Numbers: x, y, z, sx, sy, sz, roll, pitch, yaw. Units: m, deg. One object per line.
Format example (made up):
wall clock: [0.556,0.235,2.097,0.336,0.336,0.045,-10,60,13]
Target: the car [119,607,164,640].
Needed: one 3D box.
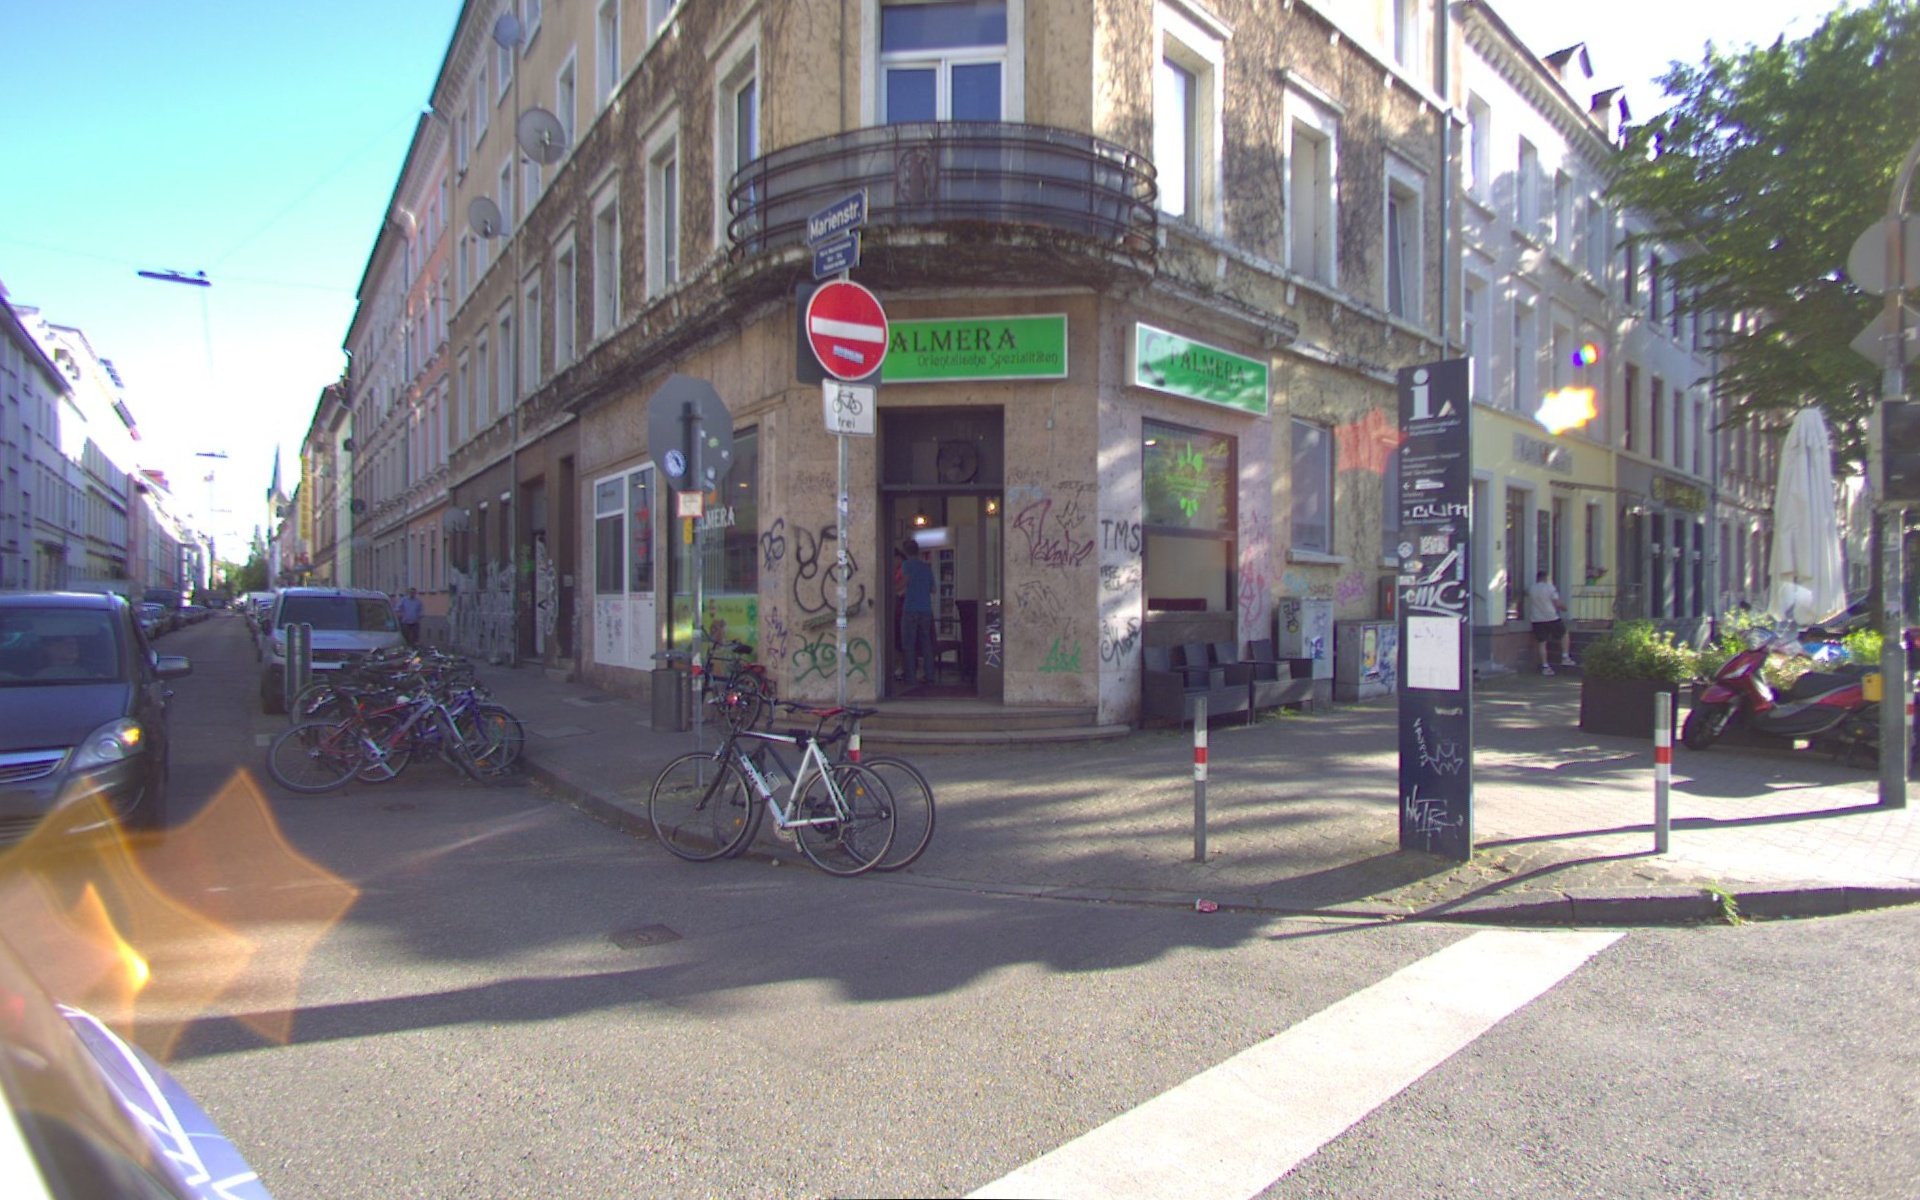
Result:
car: [-44.594,1.253,55.184,1.657,1.647,3.869,-2,1,-36]

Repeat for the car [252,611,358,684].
car: [-14.828,1.007,22.813,1.657,1.485,4.212,3,-2,-37]

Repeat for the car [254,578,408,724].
car: [-9.810,0.731,15.616,1.657,1.924,4.530,4,-3,-35]

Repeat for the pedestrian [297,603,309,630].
pedestrian: [-44.786,1.133,69.006,0.616,1.844,0.596,-2,0,-35]

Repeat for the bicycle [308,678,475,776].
bicycle: [-5.323,1.165,9.528,0.382,0.824,1.294,-1,-3,44]

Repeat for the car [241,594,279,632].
car: [-49.860,0.930,72.024,2.061,2.611,5.856,0,-1,-36]

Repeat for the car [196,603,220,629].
car: [-103.200,2.181,138.906,2.399,3.449,5.556,-2,1,-36]

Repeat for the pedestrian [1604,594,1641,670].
pedestrian: [14.639,0.699,22.362,0.540,1.655,0.561,-2,-2,45]

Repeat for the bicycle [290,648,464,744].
bicycle: [-6.843,1.100,11.932,1.741,0.996,0.464,0,-1,-37]

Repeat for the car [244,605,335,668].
car: [-17.572,0.923,26.476,1.658,1.561,2.965,1,-1,-39]

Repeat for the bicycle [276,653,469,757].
bicycle: [-6.215,1.080,10.761,1.741,0.969,0.444,0,-1,-37]

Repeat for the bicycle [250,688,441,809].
bicycle: [-5.018,1.186,8.310,0.372,0.824,1.294,-1,-1,44]

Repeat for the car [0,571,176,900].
car: [-6.723,0.731,7.087,1.770,1.674,5.196,-2,1,-36]

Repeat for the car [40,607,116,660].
car: [-28.818,1.062,33.170,1.658,1.570,3.867,-2,1,-38]

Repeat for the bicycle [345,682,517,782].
bicycle: [-4.923,1.206,9.478,0.362,0.824,1.371,-1,-3,44]

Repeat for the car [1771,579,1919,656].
car: [25.383,0.442,27.082,5.315,2.006,2.022,-1,0,24]

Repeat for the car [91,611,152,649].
car: [-35.473,1.226,42.883,1.657,1.453,3.869,-2,1,-35]

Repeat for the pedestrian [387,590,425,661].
pedestrian: [-14.795,0.664,27.038,0.778,1.844,0.596,-2,0,-36]

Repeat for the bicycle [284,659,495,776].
bicycle: [-5.519,1.105,9.875,1.744,0.969,0.428,0,-1,-43]

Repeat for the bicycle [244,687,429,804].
bicycle: [-5.268,1.201,8.597,0.355,0.824,1.294,-1,-1,44]

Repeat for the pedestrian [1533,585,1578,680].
pedestrian: [10.601,0.567,18.018,0.540,1.655,0.561,-2,-2,45]

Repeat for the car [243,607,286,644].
car: [-33.288,1.191,48.398,1.657,1.696,3.869,0,-1,-35]

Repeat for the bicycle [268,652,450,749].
bicycle: [-6.762,1.102,11.441,1.741,0.969,0.406,0,-1,-37]

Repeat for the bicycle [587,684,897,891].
bicycle: [-1.242,1.043,5.763,1.671,1.054,0.456,-3,-1,14]

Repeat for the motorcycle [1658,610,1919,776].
motorcycle: [7.962,0.816,9.229,2.401,1.361,0.995,2,0,18]

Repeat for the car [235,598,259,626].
car: [-62.741,1.041,89.072,1.657,2.384,4.108,0,-1,-35]

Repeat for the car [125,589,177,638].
car: [-48.123,0.785,60.279,2.018,2.698,6.200,-2,1,-35]

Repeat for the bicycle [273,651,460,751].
bicycle: [-6.486,1.078,11.121,1.741,0.969,0.423,0,-1,-37]

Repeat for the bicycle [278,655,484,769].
bicycle: [-5.785,1.082,10.195,0.481,0.969,1.746,-1,-1,42]

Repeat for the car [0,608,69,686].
car: [-21.519,1.022,22.721,1.656,1.609,4.201,-2,1,-33]

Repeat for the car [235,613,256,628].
car: [-71.497,2.014,101.291,1.657,1.400,3.869,0,-1,-35]

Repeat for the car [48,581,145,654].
car: [-32.785,0.637,38.606,2.017,2.532,6.039,-2,1,-33]

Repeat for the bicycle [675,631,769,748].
bicycle: [-2.542,0.901,10.717,0.392,1.100,1.595,0,0,-36]

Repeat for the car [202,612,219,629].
car: [-98.930,2.690,133.553,1.657,2.105,4.169,-2,1,-36]

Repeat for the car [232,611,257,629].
car: [-58.848,1.607,83.234,1.657,1.400,3.869,0,-1,-35]

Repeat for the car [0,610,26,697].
car: [-18.077,0.964,18.007,1.657,1.522,4.199,-2,1,-36]

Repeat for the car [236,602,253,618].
car: [-137.668,1.945,194.805,2.524,3.070,7.078,-2,1,-36]

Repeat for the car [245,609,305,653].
car: [-24.439,1.059,36.051,1.657,1.474,4.323,0,-1,-35]

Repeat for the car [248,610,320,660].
car: [-21.552,1.077,32.215,1.657,1.503,3.619,0,-1,-38]

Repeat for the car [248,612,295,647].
car: [-30.331,1.265,44.552,1.657,1.474,3.869,0,-1,-35]

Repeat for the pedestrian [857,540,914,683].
pedestrian: [-0.950,0.142,12.797,0.637,1.754,0.697,0,-1,-11]

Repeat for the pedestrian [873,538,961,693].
pedestrian: [-0.513,0.183,12.011,0.745,1.754,0.750,0,-1,-40]

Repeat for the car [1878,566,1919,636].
car: [37.695,0.110,37.583,5.200,2.597,2.213,3,2,44]

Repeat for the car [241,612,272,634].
car: [-46.553,1.476,66.924,1.657,1.400,3.869,0,-1,-35]

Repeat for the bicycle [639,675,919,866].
bicycle: [-1.109,1.006,6.206,1.648,1.054,0.449,-1,-1,14]

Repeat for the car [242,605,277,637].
car: [-43.361,1.268,62.709,1.724,1.906,4.784,0,-1,-33]
